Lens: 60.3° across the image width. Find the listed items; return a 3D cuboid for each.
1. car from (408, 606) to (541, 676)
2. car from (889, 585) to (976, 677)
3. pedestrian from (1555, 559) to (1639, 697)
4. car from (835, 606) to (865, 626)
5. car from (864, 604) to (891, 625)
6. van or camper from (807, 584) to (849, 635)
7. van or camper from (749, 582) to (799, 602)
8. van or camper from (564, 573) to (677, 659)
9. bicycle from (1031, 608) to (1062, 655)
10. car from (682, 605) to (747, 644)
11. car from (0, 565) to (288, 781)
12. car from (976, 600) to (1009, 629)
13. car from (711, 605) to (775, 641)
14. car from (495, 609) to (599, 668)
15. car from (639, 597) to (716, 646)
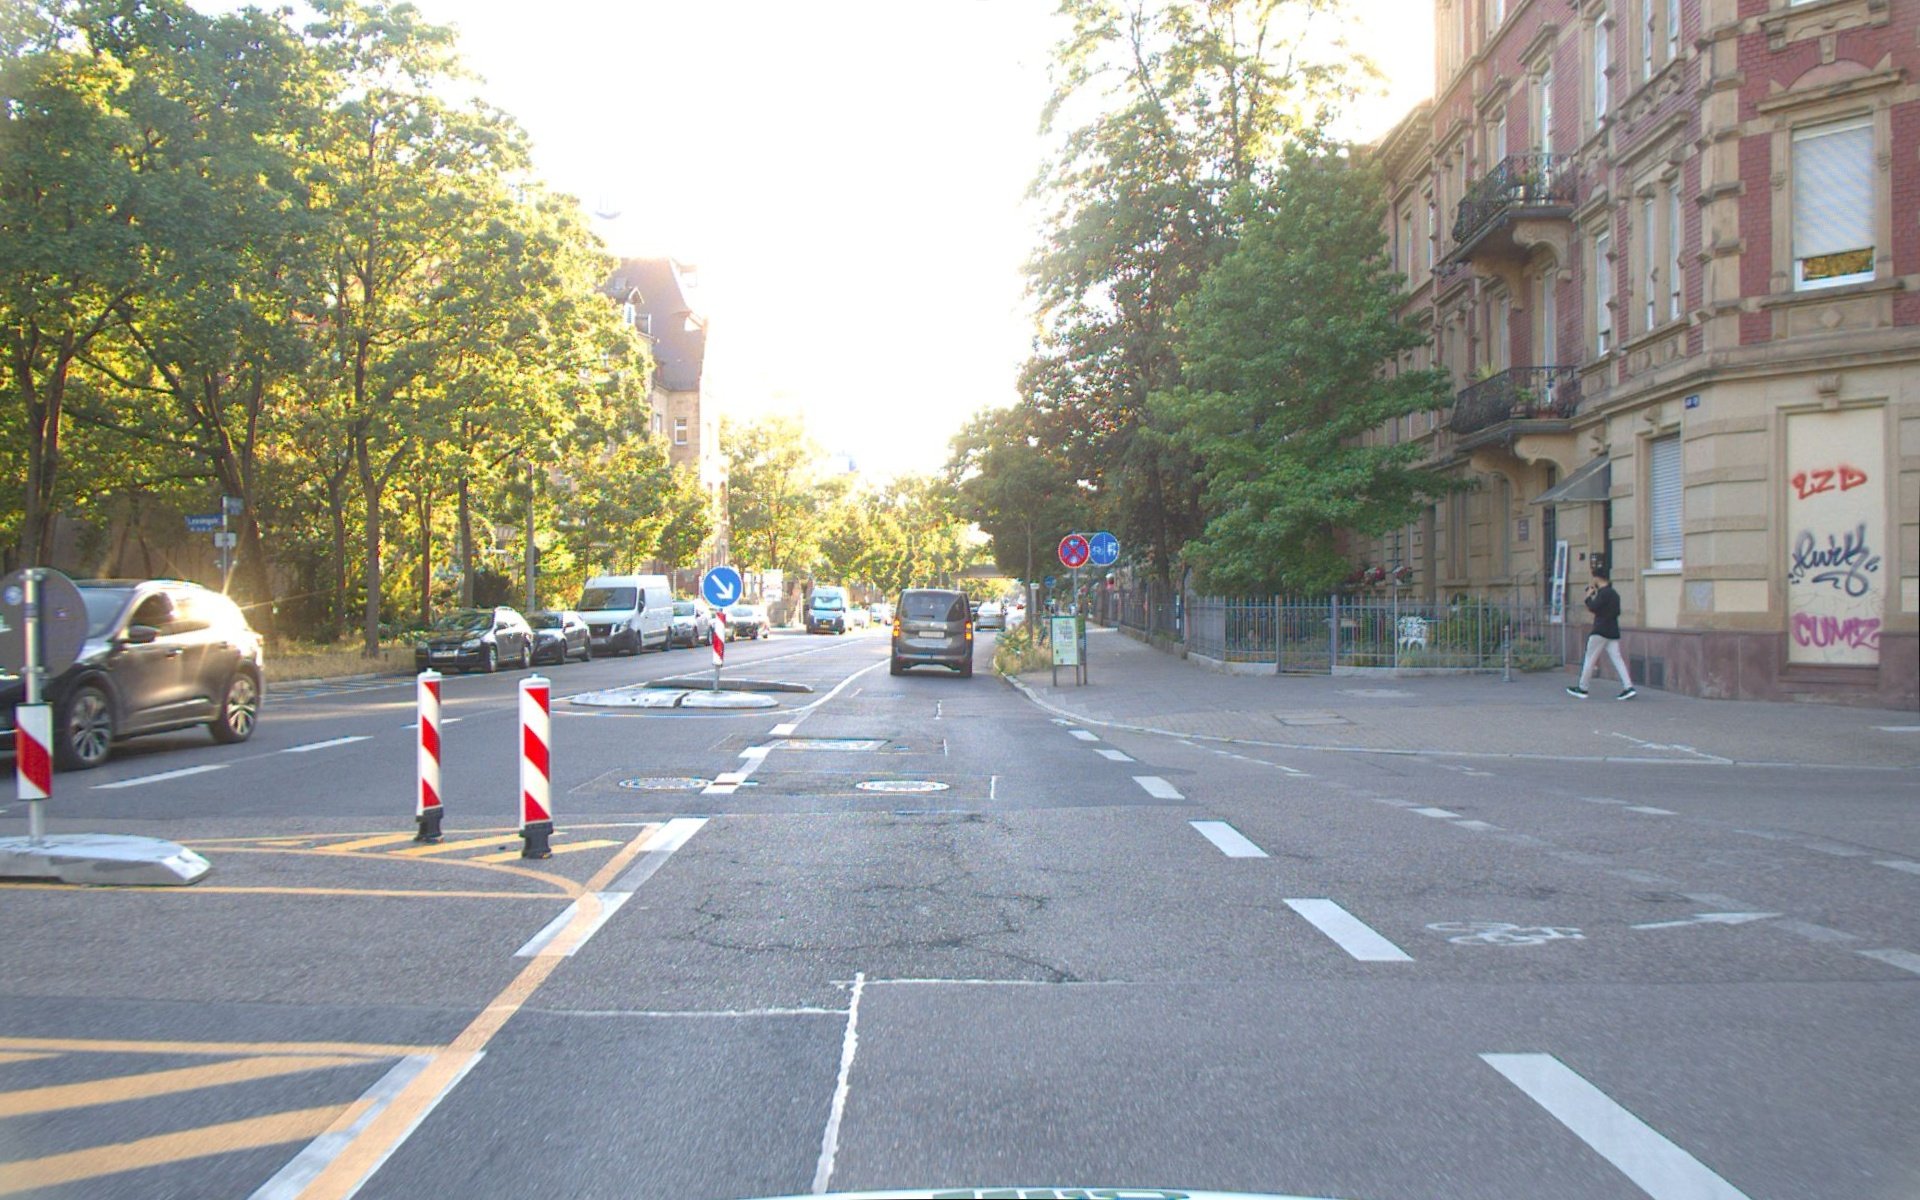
[{"bbox_3d":[-11.384,0.926,39.101,1.589,1.533,4.546,-1,0,3],"label":"car"},{"bbox_3d":[-0.625,0.674,37.783,1.849,1.958,3.838,-1,0,-1],"label":"car"},{"bbox_3d":[8.711,0.381,22.649,0.730,1.809,0.831,-3,0,-1],"label":"pedestrian"},{"bbox_3d":[-7.111,1.027,107.245,1.504,1.270,3.615,2,0,2],"label":"car"},{"bbox_3d":[-6.056,1.026,121.894,1.661,1.477,4.001,2,0,2],"label":"car"},{"bbox_3d":[-7.353,0.534,92.544,1.953,2.715,6.037,2,0,-1],"label":"van or camper"},{"bbox_3d":[-25.232,-1.079,224.712,6.427,2.566,2.450,2,0,1],"label":"van or camper"},{"bbox_3d":[-10.679,0.464,52.502,2.047,2.511,6.307,-1,0,2],"label":"van or camper"},{"bbox_3d":[2.265,0.812,43.429,0.633,1.187,1.930,1,0,-1],"label":"bicycle"},{"bbox_3d":[-9.694,0.931,65.562,1.700,1.471,4.626,0,0,2],"label":"car"},{"bbox_3d":[-8.359,0.643,15.710,1.837,1.735,4.569,-3,0,3],"label":"car"},{"bbox_3d":[1.941,0.849,98.858,1.952,1.662,4.001,0,0,1],"label":"car"},{"bbox_3d":[-9.397,0.967,71.956,1.952,1.509,4.830,0,0,2],"label":"car"},{"bbox_3d":[-11.101,1.008,44.704,1.594,1.454,4.243,-1,0,2],"label":"car"},{"bbox_3d":[-10.180,0.768,59.971,1.827,1.673,4.572,-1,0,2],"label":"car"}]
